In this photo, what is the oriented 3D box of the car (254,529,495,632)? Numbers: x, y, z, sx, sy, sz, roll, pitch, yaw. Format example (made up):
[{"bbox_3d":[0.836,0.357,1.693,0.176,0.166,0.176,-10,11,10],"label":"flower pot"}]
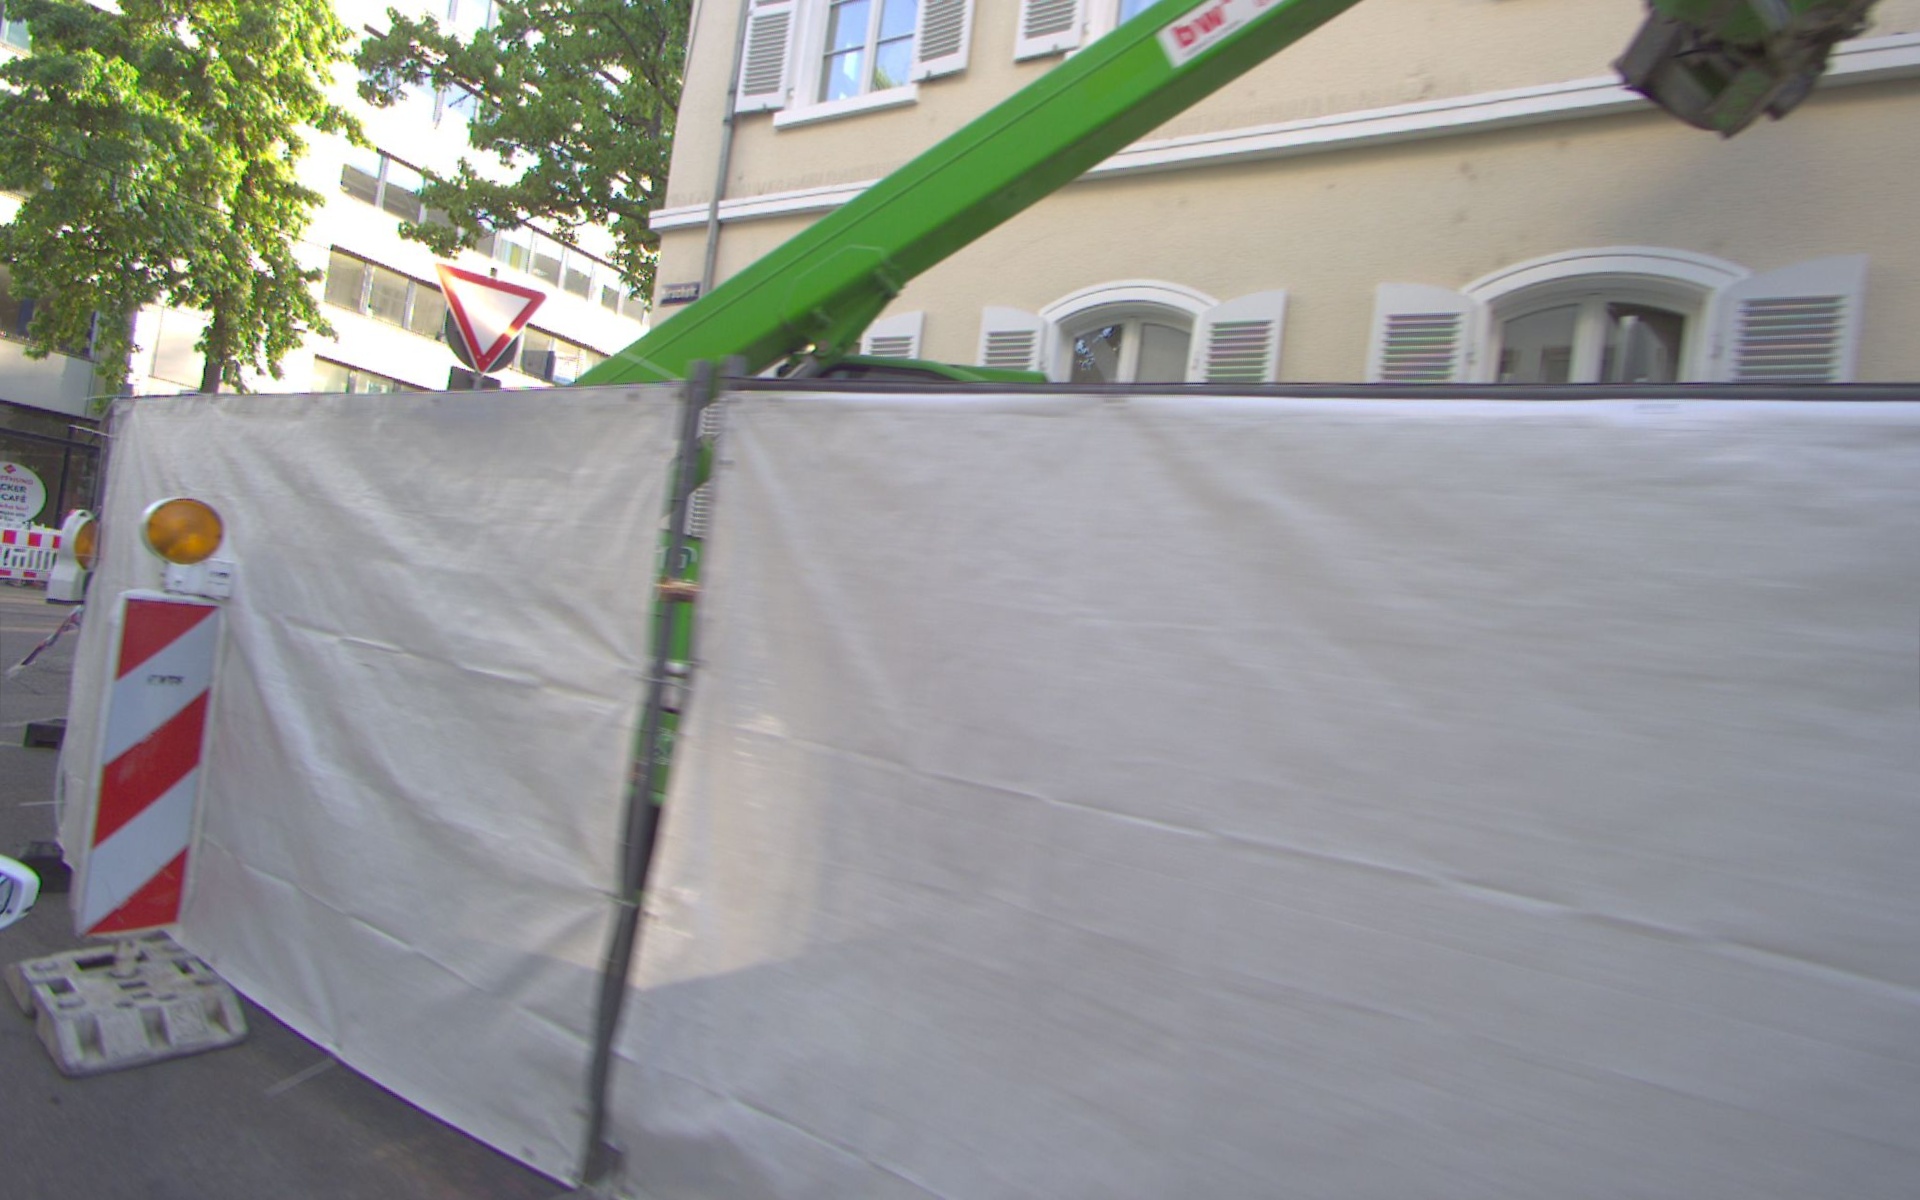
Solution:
[{"bbox_3d":[-15.144,-0.425,26.341,1.988,1.795,4.943,9,-2,31],"label":"car"}]

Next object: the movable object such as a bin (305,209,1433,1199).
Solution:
[{"bbox_3d":[-0.448,0.344,4.793,4.376,2.872,2.609,7,-1,31],"label":"movable object such as a bin"}]
